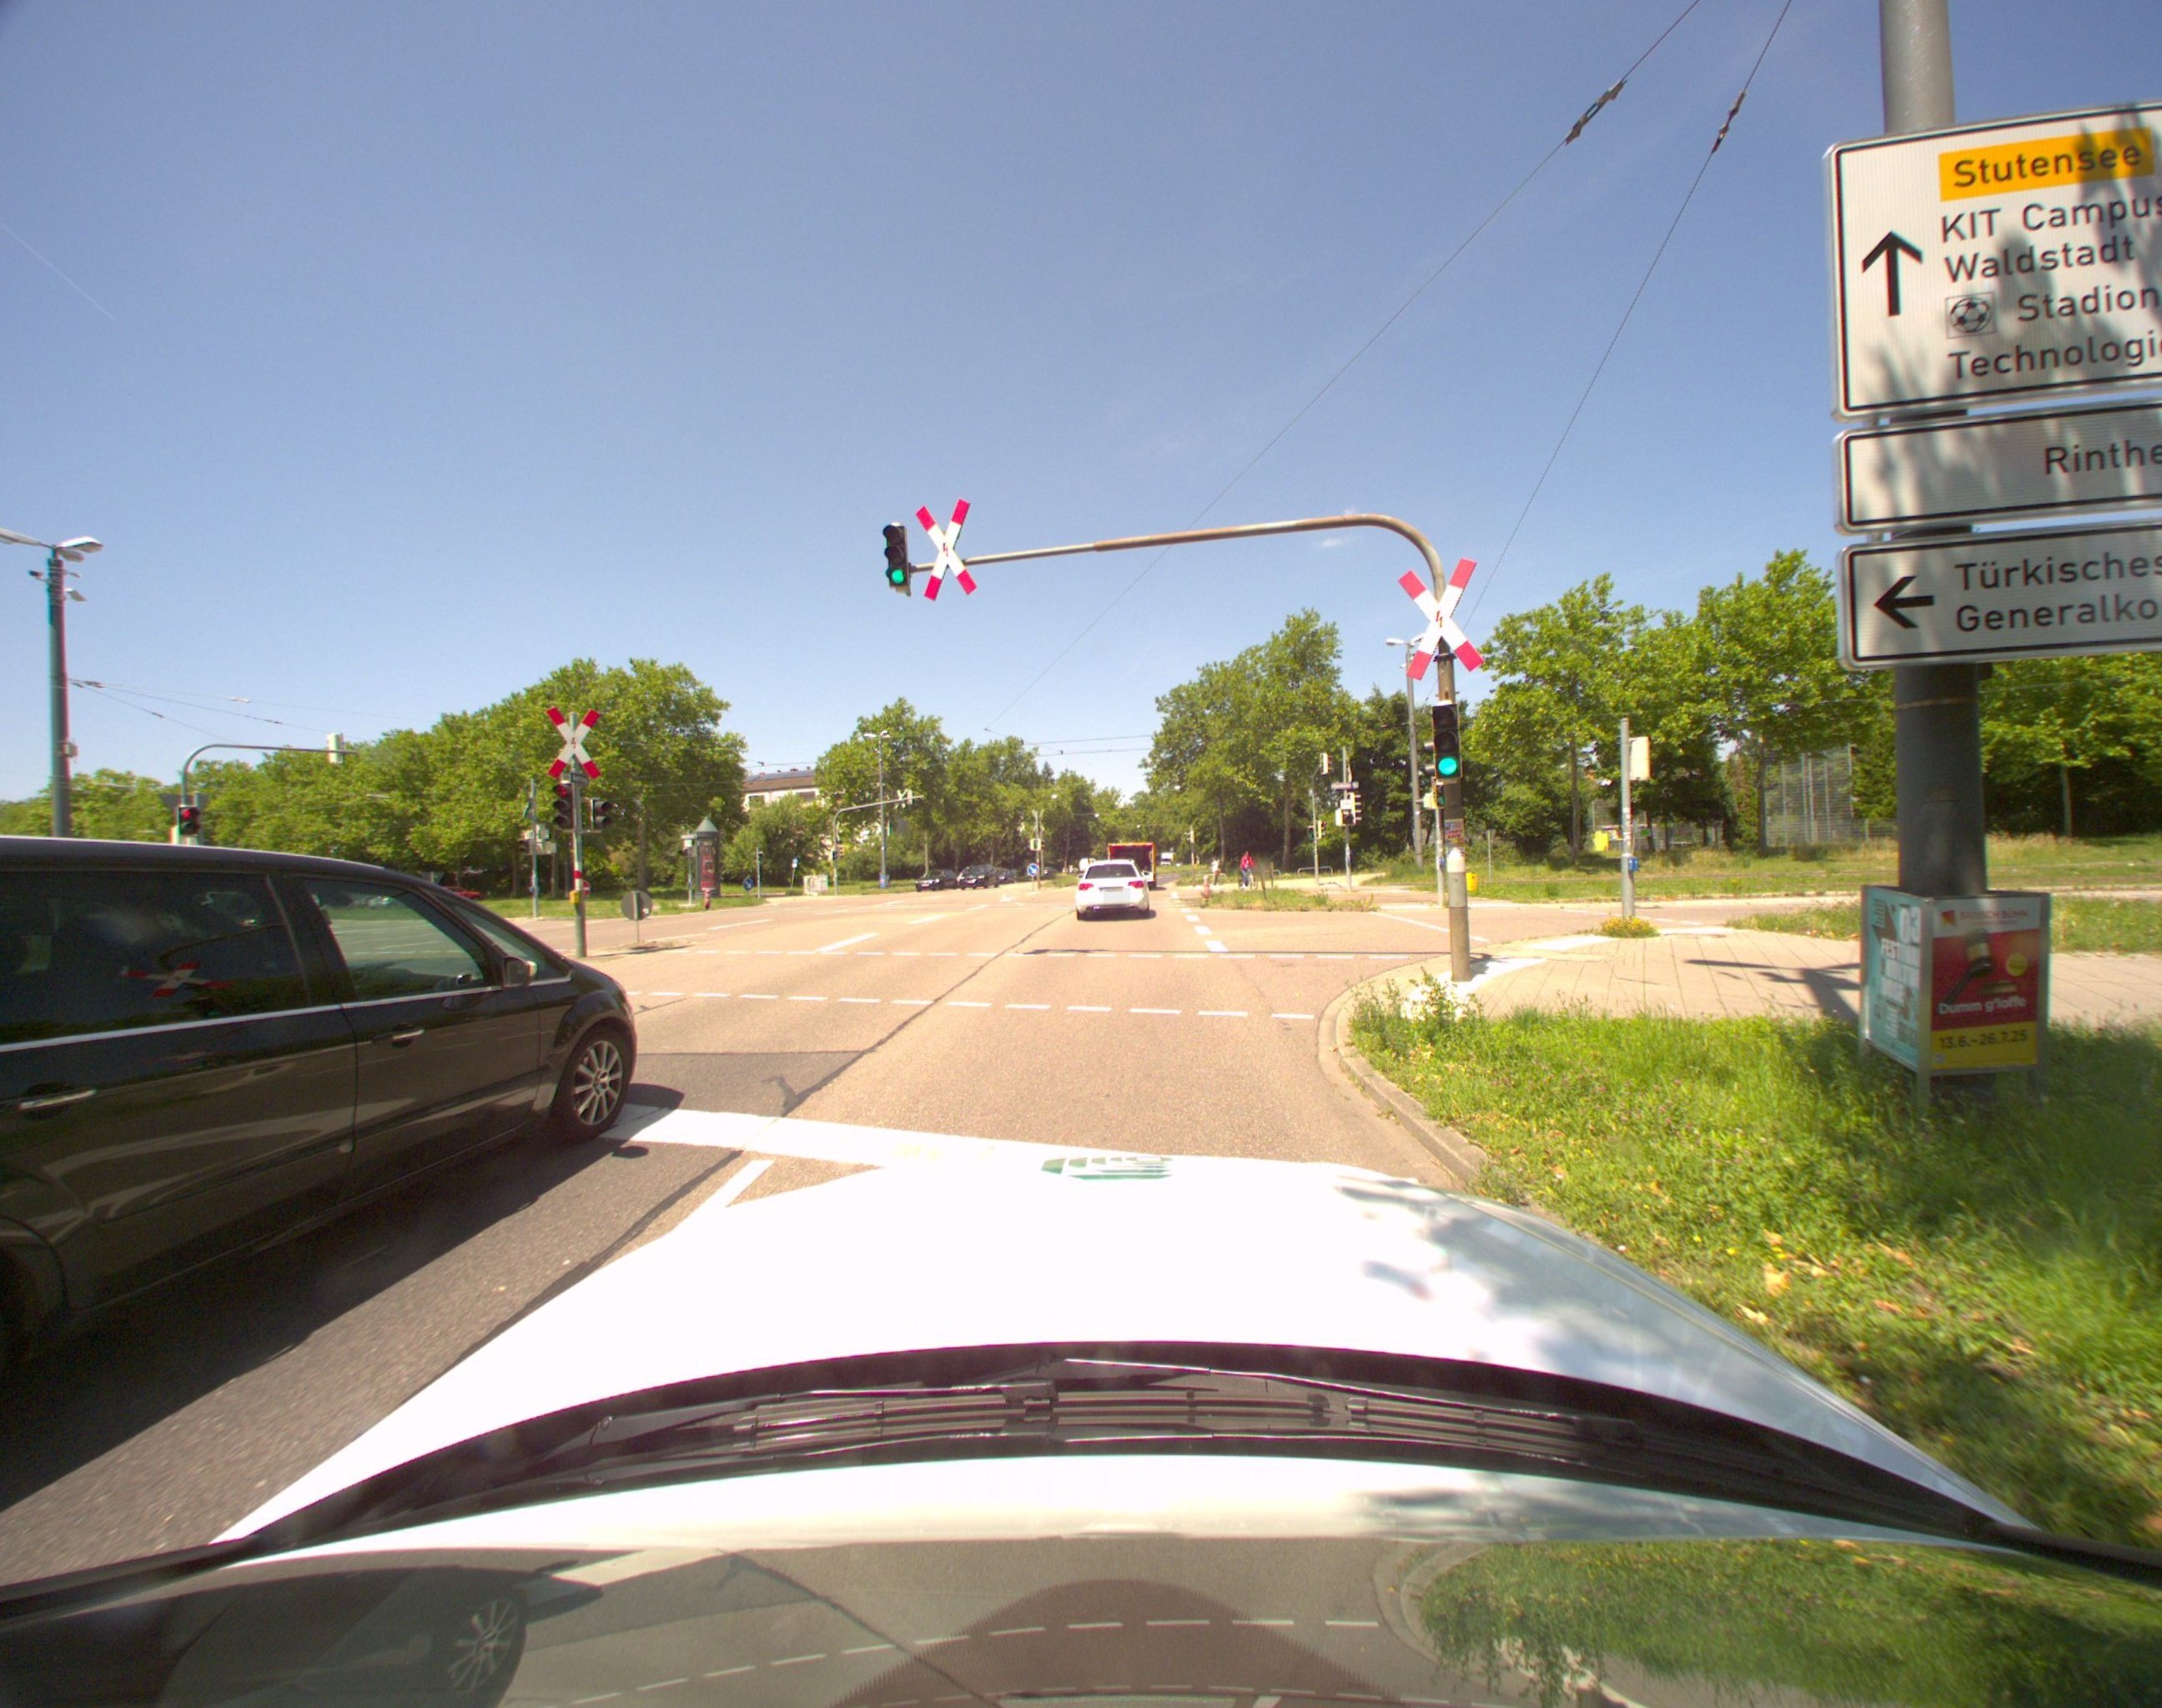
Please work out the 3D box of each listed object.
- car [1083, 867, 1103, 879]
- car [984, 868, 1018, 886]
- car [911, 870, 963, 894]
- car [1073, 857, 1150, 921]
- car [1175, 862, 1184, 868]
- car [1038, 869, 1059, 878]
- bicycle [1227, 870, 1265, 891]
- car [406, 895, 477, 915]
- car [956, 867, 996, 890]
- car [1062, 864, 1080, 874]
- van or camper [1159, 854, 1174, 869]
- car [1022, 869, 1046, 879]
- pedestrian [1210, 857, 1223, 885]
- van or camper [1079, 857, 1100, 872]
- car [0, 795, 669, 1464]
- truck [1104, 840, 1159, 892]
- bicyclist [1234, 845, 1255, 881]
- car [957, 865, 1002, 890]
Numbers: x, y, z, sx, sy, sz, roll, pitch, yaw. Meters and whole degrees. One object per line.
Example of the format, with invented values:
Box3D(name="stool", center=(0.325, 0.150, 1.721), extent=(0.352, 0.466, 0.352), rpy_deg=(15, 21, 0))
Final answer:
Box3D(name="car", center=(1.417, 2.208, 94.832), extent=(1.725, 1.395, 4.189), rpy_deg=(0, 0, 9))
Box3D(name="car", center=(-7.041, 2.069, 72.019), extent=(1.708, 1.456, 3.882), rpy_deg=(-2, -3, 14))
Box3D(name="car", center=(-9.895, 1.906, 56.369), extent=(1.937, 1.440, 4.761), rpy_deg=(-2, -1, 11))
Box3D(name="car", center=(0.778, 0.824, 20.472), extent=(1.755, 1.445, 3.618), rpy_deg=(-1, -1, 2))
Box3D(name="car", center=(24.016, 2.623, 197.842), extent=(1.903, 1.210, 4.345), rpy_deg=(3, -1, 9))
Box3D(name="car", center=(-5.116, 3.108, 129.488), extent=(1.865, 1.376, 4.021), rpy_deg=(-2, -1, 22))
Box3D(name="bicycle", center=(7.247, 1.167, 35.896), extent=(0.590, 0.896, 1.794), rpy_deg=(-2, -1, -29))
Box3D(name="car", center=(-49.981, 3.945, 63.740), extent=(1.441, 1.397, 4.161), rpy_deg=(-1, -1, 26))
Box3D(name="car", center=(-8.237, 1.909, 64.024), extent=(1.776, 1.615, 4.417), rpy_deg=(-2, -1, 10))
Box3D(name="car", center=(-1.710, 2.533, 139.105), extent=(1.866, 1.474, 4.019), rpy_deg=(-2, -1, 18))
Box3D(name="van or camper", center=(19.611, 1.731, 185.715), extent=(2.642, 3.331, 5.519), rpy_deg=(-2, -1, 13))
Box3D(name="car", center=(-7.136, 2.984, 124.088), extent=(1.864, 1.393, 4.023), rpy_deg=(-2, -1, 25))
Box3D(name="pedestrian", center=(7.309, 0.904, 43.914), extent=(0.549, 1.484, 0.632), rpy_deg=(-2, -1, 14))
Box3D(name="van or camper", center=(1.567, 1.807, 148.039), extent=(2.164, 2.587, 5.334), rpy_deg=(-2, -1, 19))
Box3D(name="car", center=(-3.749, 0.753, 3.120), extent=(1.847, 1.756, 4.650), rpy_deg=(-1, -1, 1))
Box3D(name="truck", center=(2.822, 0.579, 43.775), extent=(2.498, 2.559, 7.618), rpy_deg=(-1, 0, 7))
Box3D(name="bicyclist", center=(7.211, 0.411, 35.943), extent=(0.581, 1.556, 0.667), rpy_deg=(-2, -1, -29))
Box3D(name="car", center=(-6.696, 1.536, 54.324), extent=(1.899, 1.539, 4.307), rpy_deg=(-2, -1, 7))
